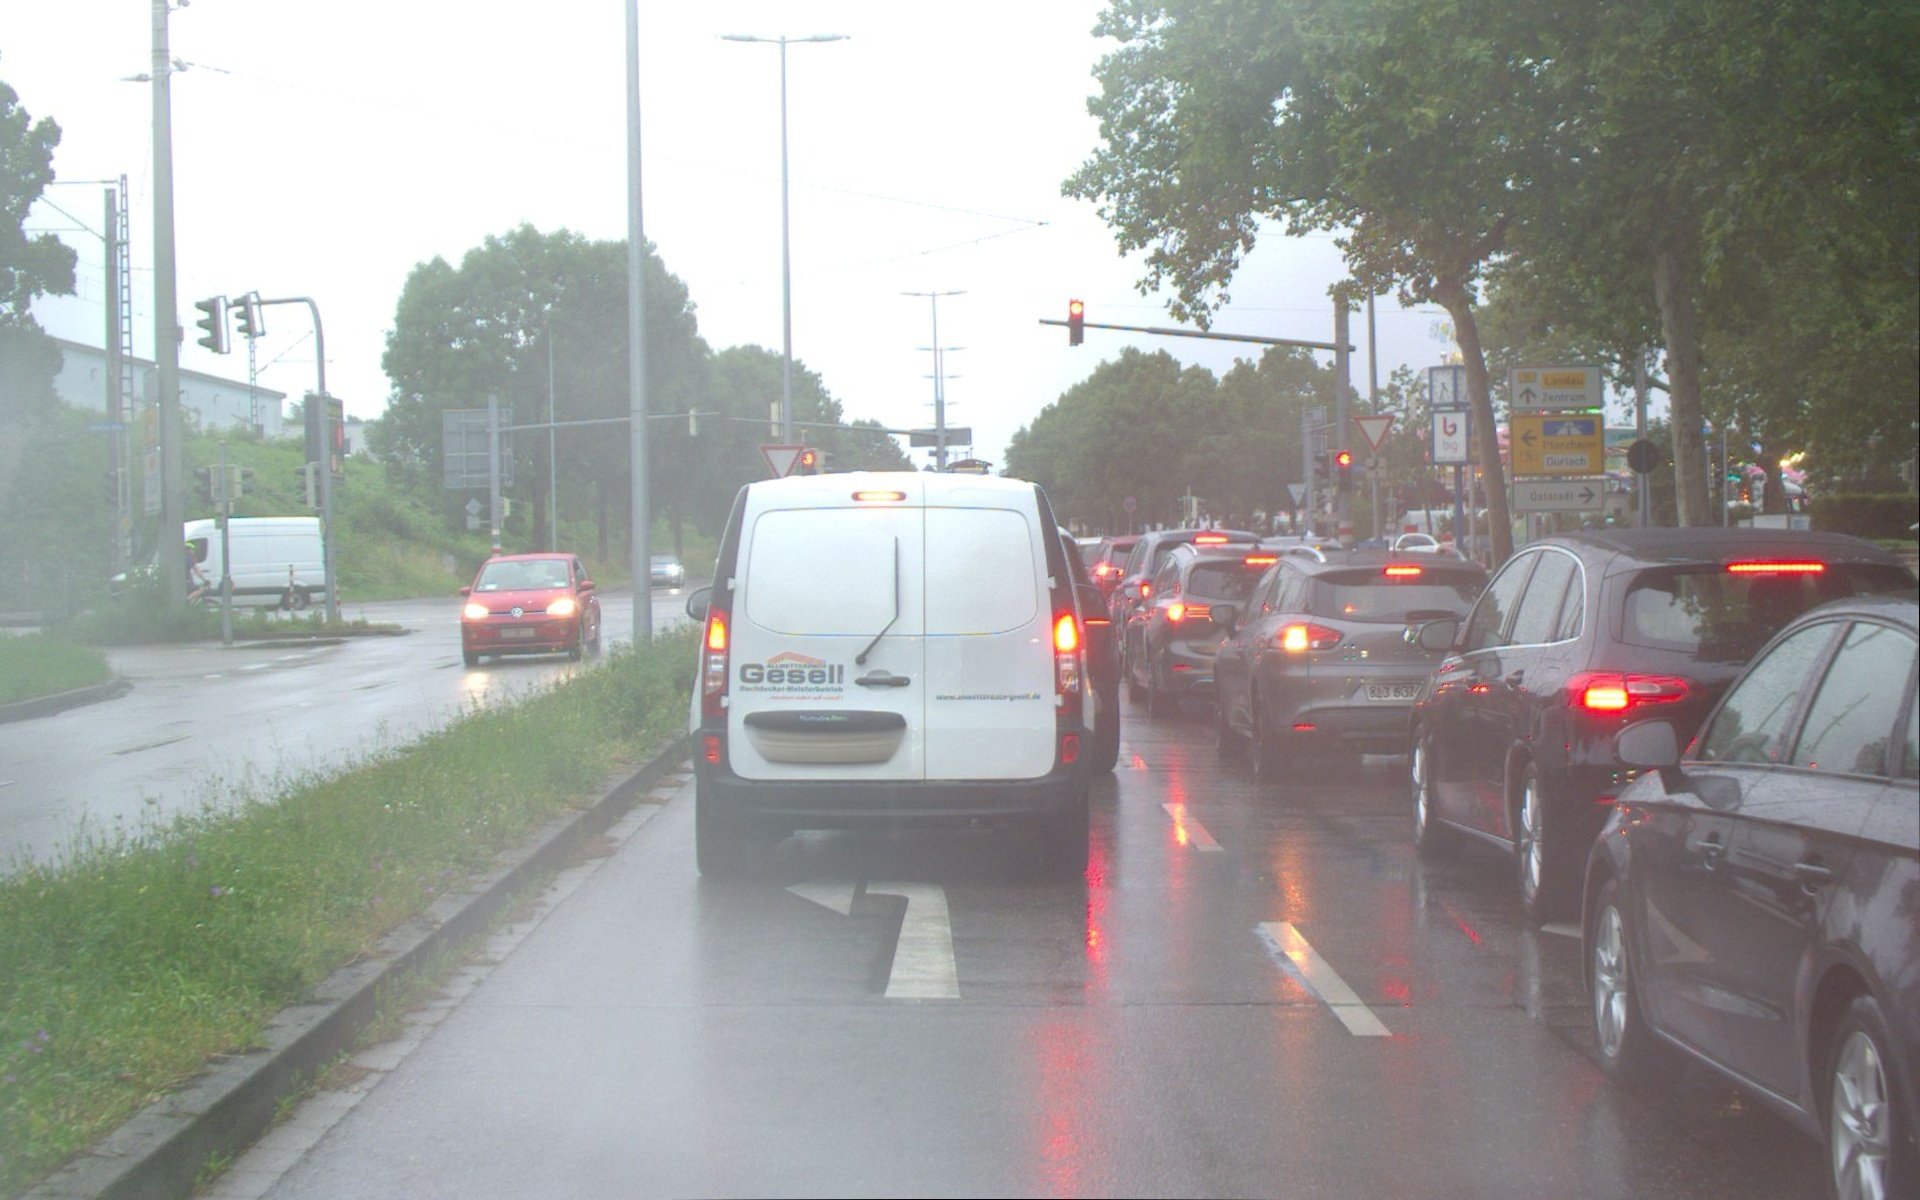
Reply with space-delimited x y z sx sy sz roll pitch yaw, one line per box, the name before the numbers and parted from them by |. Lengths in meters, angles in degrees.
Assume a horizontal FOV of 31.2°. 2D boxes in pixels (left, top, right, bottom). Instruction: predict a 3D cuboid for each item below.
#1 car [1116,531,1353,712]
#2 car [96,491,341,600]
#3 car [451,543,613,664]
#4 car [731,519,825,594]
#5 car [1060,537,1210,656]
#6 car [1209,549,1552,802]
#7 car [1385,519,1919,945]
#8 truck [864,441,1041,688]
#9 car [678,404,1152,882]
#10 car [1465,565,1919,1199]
car | 2.319 0.137 29.877 1.711 1.440 4.000 0 1 0
car | -19.450 -1.384 90.379 6.002 2.734 2.000 0 -1 -36
car | -5.895 0.012 47.692 1.716 1.508 3.614 -3 1 0
car | -4.059 -1.001 77.136 1.962 1.520 4.335 -2 2 -2
car | 2.237 -0.082 44.793 1.711 1.440 4.000 0 1 0
car | 2.623 0.416 22.261 1.711 1.440 4.000 0 1 0
car | 2.994 0.443 14.793 1.708 1.544 4.001 0 2 -2
truck | -0.133 -0.376 36.314 1.756 2.458 4.000 0 1 -2
car | -0.248 0.197 16.451 1.993 2.007 4.000 0 -1 -2
car | 2.566 0.649 8.238 1.993 1.447 4.000 0 1 -2
